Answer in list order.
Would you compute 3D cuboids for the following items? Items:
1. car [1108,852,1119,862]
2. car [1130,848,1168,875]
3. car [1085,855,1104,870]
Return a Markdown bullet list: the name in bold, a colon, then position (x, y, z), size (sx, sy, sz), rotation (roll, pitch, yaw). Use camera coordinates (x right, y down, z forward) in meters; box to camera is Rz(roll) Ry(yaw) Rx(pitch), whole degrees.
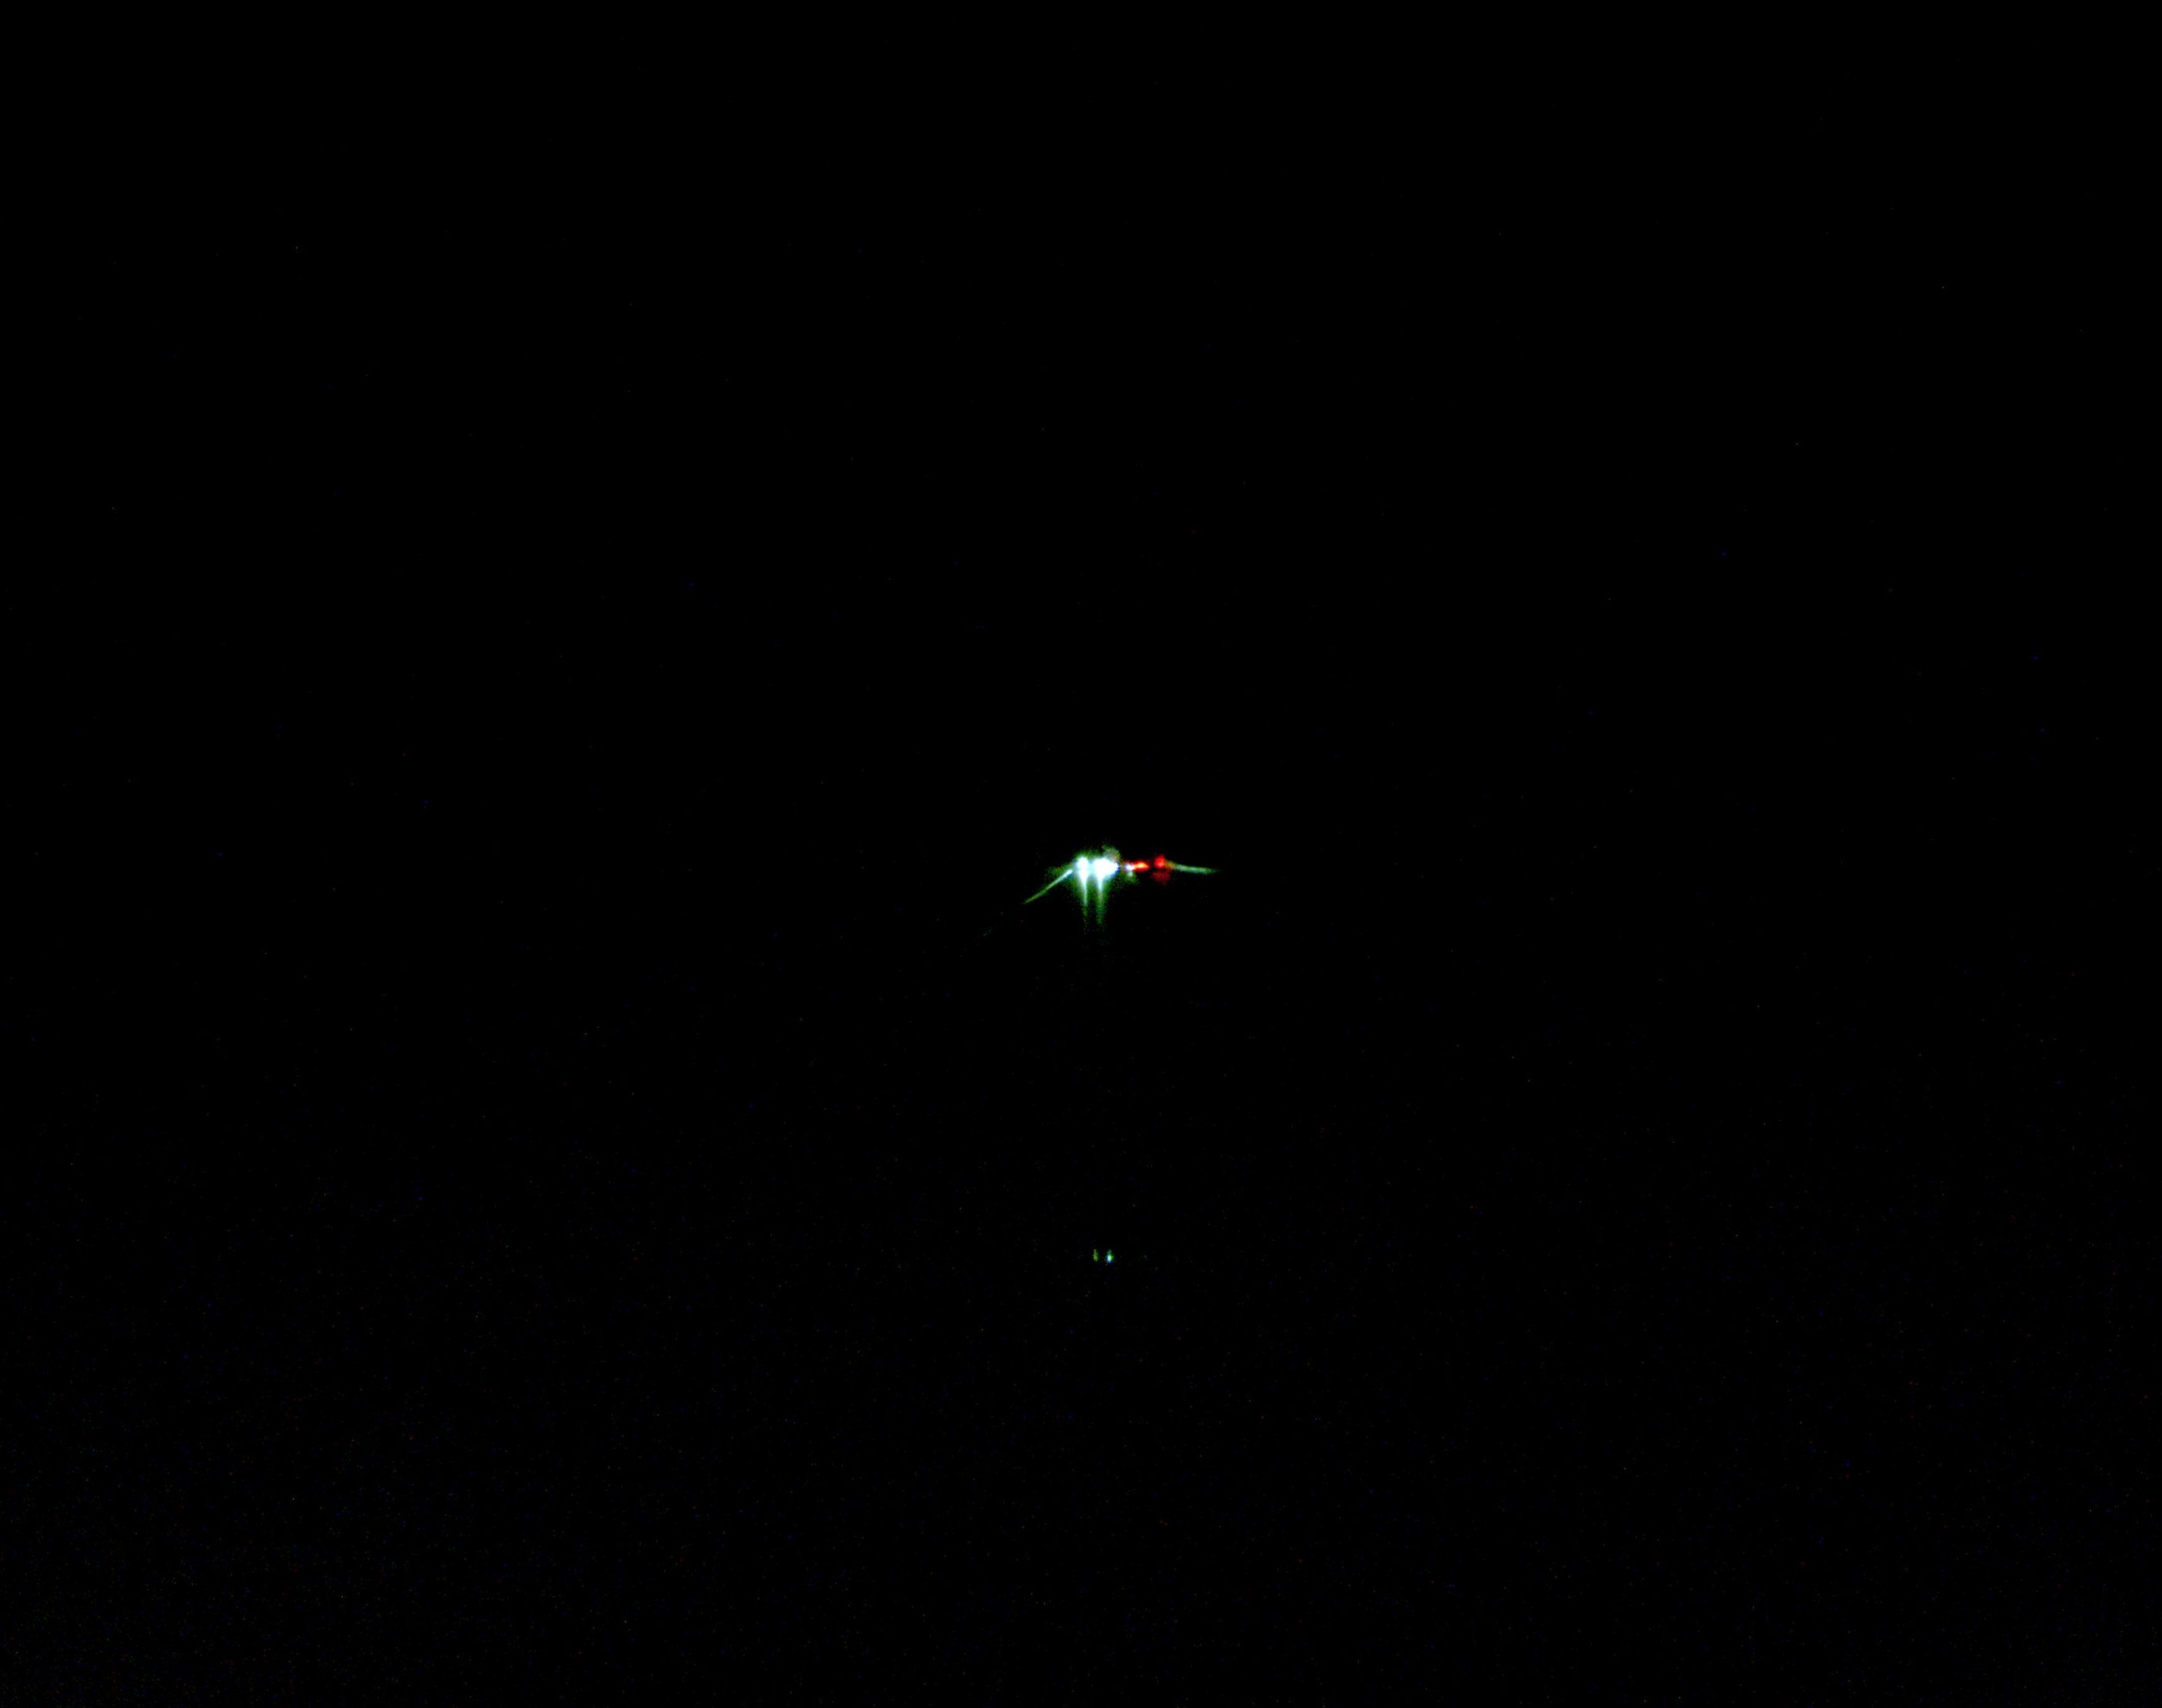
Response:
- **car**: position (6.451, 0.632, 152.349), size (1.998, 1.782, 4.246), rotation (-2, 0, 2)
- **car**: position (4.087, 0.429, 46.271), size (1.998, 1.440, 4.429), rotation (-2, 0, 1)
- **car**: position (1.475, 0.909, 82.319), size (1.807, 1.452, 4.277), rotation (-3, 0, 4)
